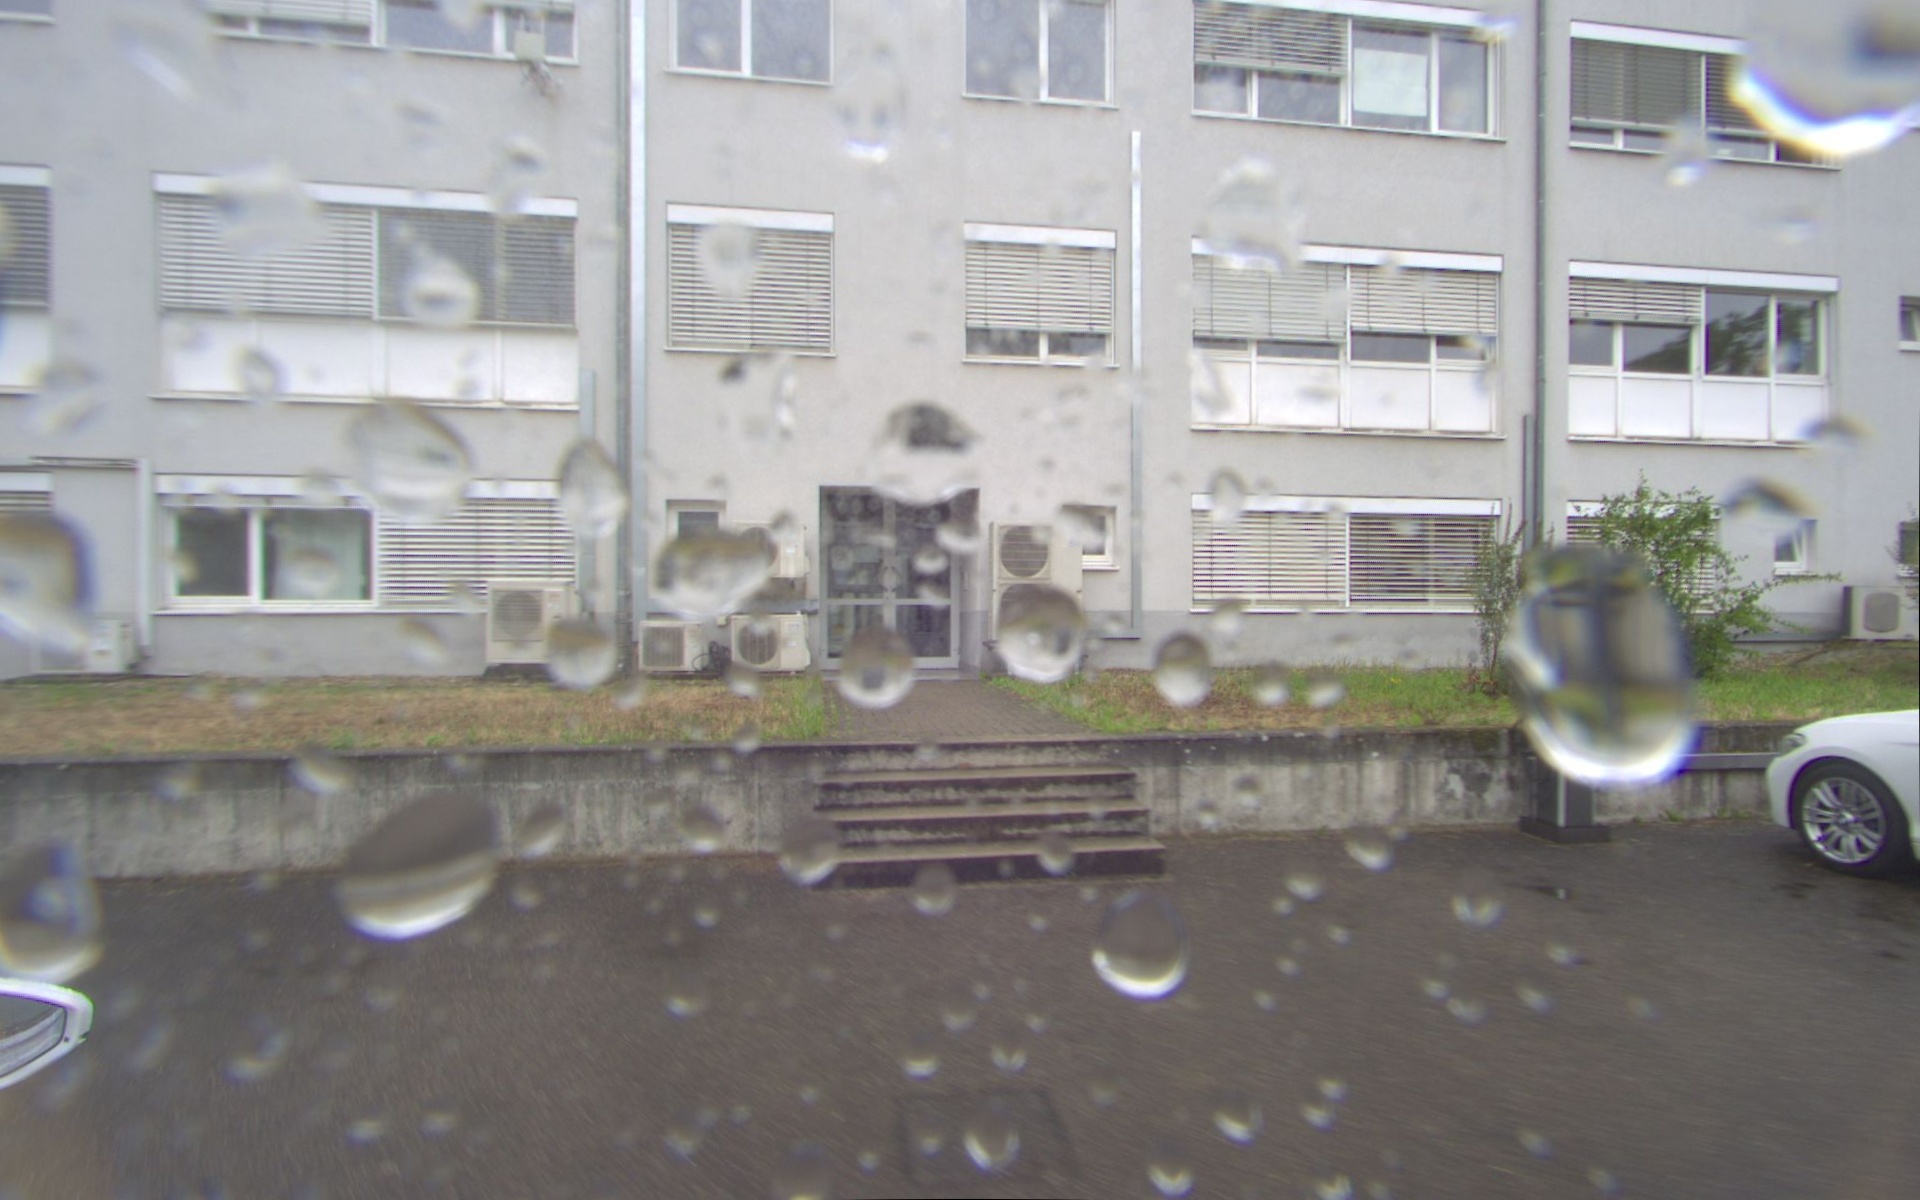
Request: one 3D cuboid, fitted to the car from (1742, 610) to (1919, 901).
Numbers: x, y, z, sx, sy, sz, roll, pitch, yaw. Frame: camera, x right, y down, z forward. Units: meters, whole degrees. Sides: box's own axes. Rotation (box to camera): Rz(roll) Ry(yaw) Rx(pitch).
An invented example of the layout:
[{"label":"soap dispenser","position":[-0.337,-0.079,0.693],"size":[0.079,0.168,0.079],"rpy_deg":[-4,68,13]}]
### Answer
[{"label":"car","position":[6.079,0.801,4.249],"size":[1.962,1.509,4.221],"rpy_deg":[1,-1,-6]}]
